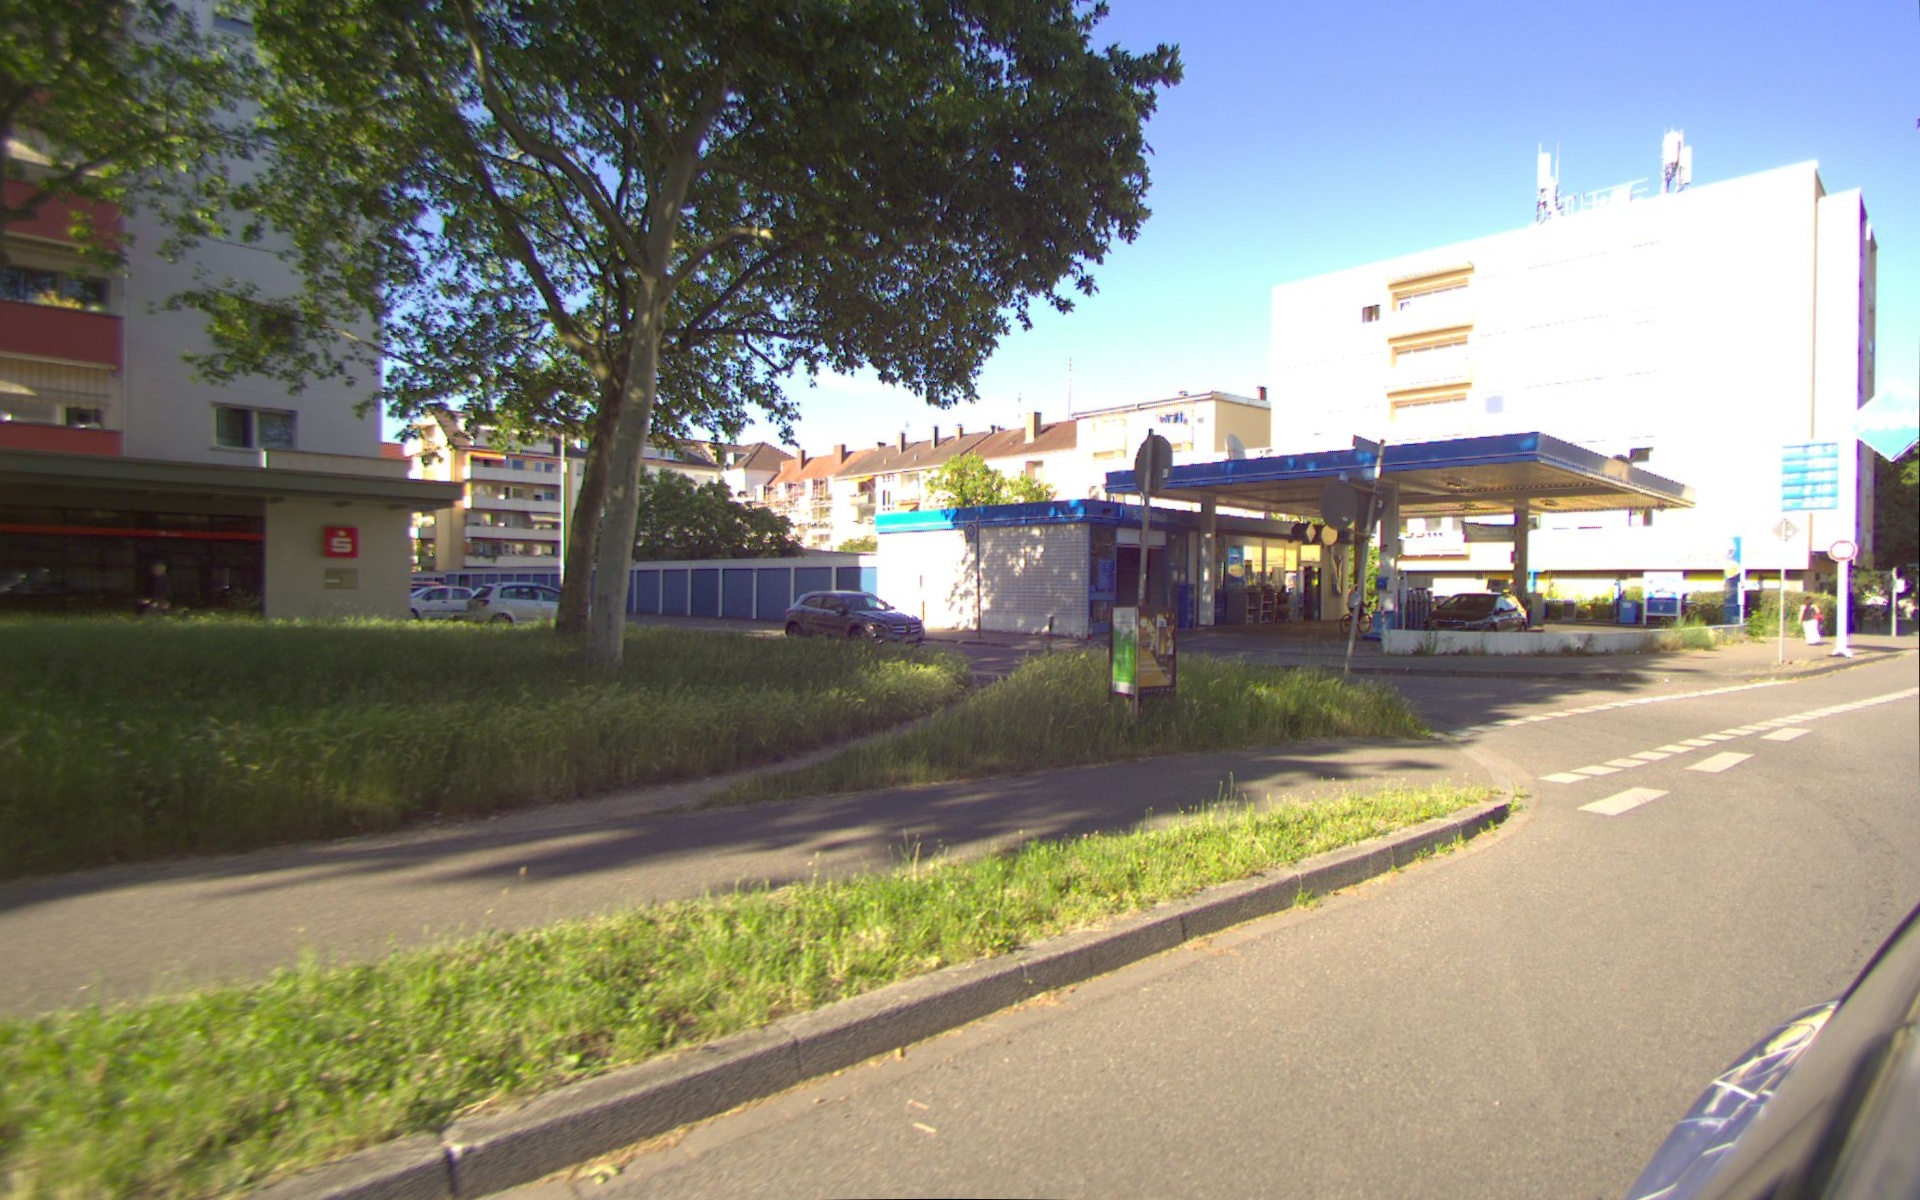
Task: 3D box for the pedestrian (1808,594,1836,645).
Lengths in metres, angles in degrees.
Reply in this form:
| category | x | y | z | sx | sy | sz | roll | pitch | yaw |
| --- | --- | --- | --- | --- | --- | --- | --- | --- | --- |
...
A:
| category | x | y | z | sx | sy | sz | roll | pitch | yaw |
| --- | --- | --- | --- | --- | --- | --- | --- | --- | --- |
| pedestrian | 29.533 | 0.673 | 34.674 | 0.542 | 1.723 | 0.606 | 1 | 0 | -37 |

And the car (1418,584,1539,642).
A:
| category | x | y | z | sx | sy | sz | roll | pitch | yaw |
| --- | --- | --- | --- | --- | --- | --- | --- | --- | --- |
| car | 14.445 | 0.333 | 28.101 | 3.937 | 1.481 | 1.723 | 0 | 1 | -42 |

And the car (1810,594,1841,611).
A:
| category | x | y | z | sx | sy | sz | roll | pitch | yaw |
| --- | --- | --- | --- | --- | --- | --- | --- | --- | --- |
| car | 88.896 | 0.256 | 103.962 | 1.988 | 1.720 | 4.223 | 1 | 1 | 35 |

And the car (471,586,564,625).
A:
| category | x | y | z | sx | sy | sz | roll | pitch | yaw |
| --- | --- | --- | --- | --- | --- | --- | --- | --- | --- |
| car | -17.543 | 0.192 | 40.313 | 1.884 | 1.441 | 3.545 | 1 | 1 | 6 |

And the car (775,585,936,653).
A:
| category | x | y | z | sx | sy | sz | roll | pitch | yaw |
| --- | --- | --- | --- | --- | --- | --- | --- | --- | --- |
| car | -2.710 | 0.421 | 25.480 | 1.949 | 1.550 | 4.196 | 0 | 1 | -42 |

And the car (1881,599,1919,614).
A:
| category | x | y | z | sx | sy | sz | roll | pitch | yaw |
| --- | --- | --- | --- | --- | --- | --- | --- | --- | --- |
| car | 90.887 | 0.600 | 97.535 | 4.193 | 1.340 | 2.002 | 0 | 1 | -32 |

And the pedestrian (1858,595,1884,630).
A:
| category | x | y | z | sx | sy | sz | roll | pitch | yaw |
| --- | --- | --- | --- | --- | --- | --- | --- | --- | --- |
| pedestrian | 49.566 | 0.653 | 55.070 | 0.784 | 1.850 | 1.022 | 2 | 2 | 32 |

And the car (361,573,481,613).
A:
| category | x | y | z | sx | sy | sz | roll | pitch | yaw |
| --- | --- | --- | --- | --- | --- | --- | --- | --- | --- |
| car | -22.743 | -0.290 | 42.741 | 4.131 | 1.577 | 1.980 | 0 | 1 | -42 |

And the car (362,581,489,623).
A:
| category | x | y | z | sx | sy | sz | roll | pitch | yaw |
| --- | --- | --- | --- | --- | --- | --- | --- | --- | --- |
| car | -21.431 | 0.068 | 40.654 | 4.136 | 1.577 | 1.978 | 0 | 1 | -45 |

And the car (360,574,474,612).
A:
| category | x | y | z | sx | sy | sz | roll | pitch | yaw |
| --- | --- | --- | --- | --- | --- | --- | --- | --- | --- |
| car | -24.081 | -0.304 | 44.911 | 4.131 | 1.577 | 1.980 | 0 | 1 | -41 |

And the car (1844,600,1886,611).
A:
| category | x | y | z | sx | sy | sz | roll | pitch | yaw |
| --- | --- | --- | --- | --- | --- | --- | --- | --- | --- |
| car | 89.547 | 0.542 | 100.102 | 4.193 | 1.080 | 2.002 | 0 | 1 | -32 |

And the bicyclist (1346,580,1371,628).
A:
| category | x | y | z | sx | sy | sz | roll | pitch | yaw |
| --- | --- | --- | --- | --- | --- | --- | --- | --- | --- |
| bicyclist | 12.904 | 0.121 | 32.748 | 0.618 | 1.539 | 0.539 | 1 | 0 | -42 |

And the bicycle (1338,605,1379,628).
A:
| category | x | y | z | sx | sy | sz | roll | pitch | yaw |
| --- | --- | --- | --- | --- | --- | --- | --- | --- | --- |
| bicycle | 12.898 | 0.521 | 32.741 | 1.679 | 0.724 | 0.540 | 0 | 0 | -43 |

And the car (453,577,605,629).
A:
| category | x | y | z | sx | sy | sz | roll | pitch | yaw |
| --- | --- | --- | --- | --- | --- | --- | --- | --- | --- |
| car | -13.609 | 0.064 | 32.055 | 4.044 | 1.522 | 1.872 | 0 | 1 | -43 |

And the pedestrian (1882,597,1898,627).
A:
| category | x | y | z | sx | sy | sz | roll | pitch | yaw |
| --- | --- | --- | --- | --- | --- | --- | --- | --- | --- |
| pedestrian | 50.232 | 0.659 | 54.645 | 0.501 | 1.565 | 0.513 | 2 | 2 | 32 |
